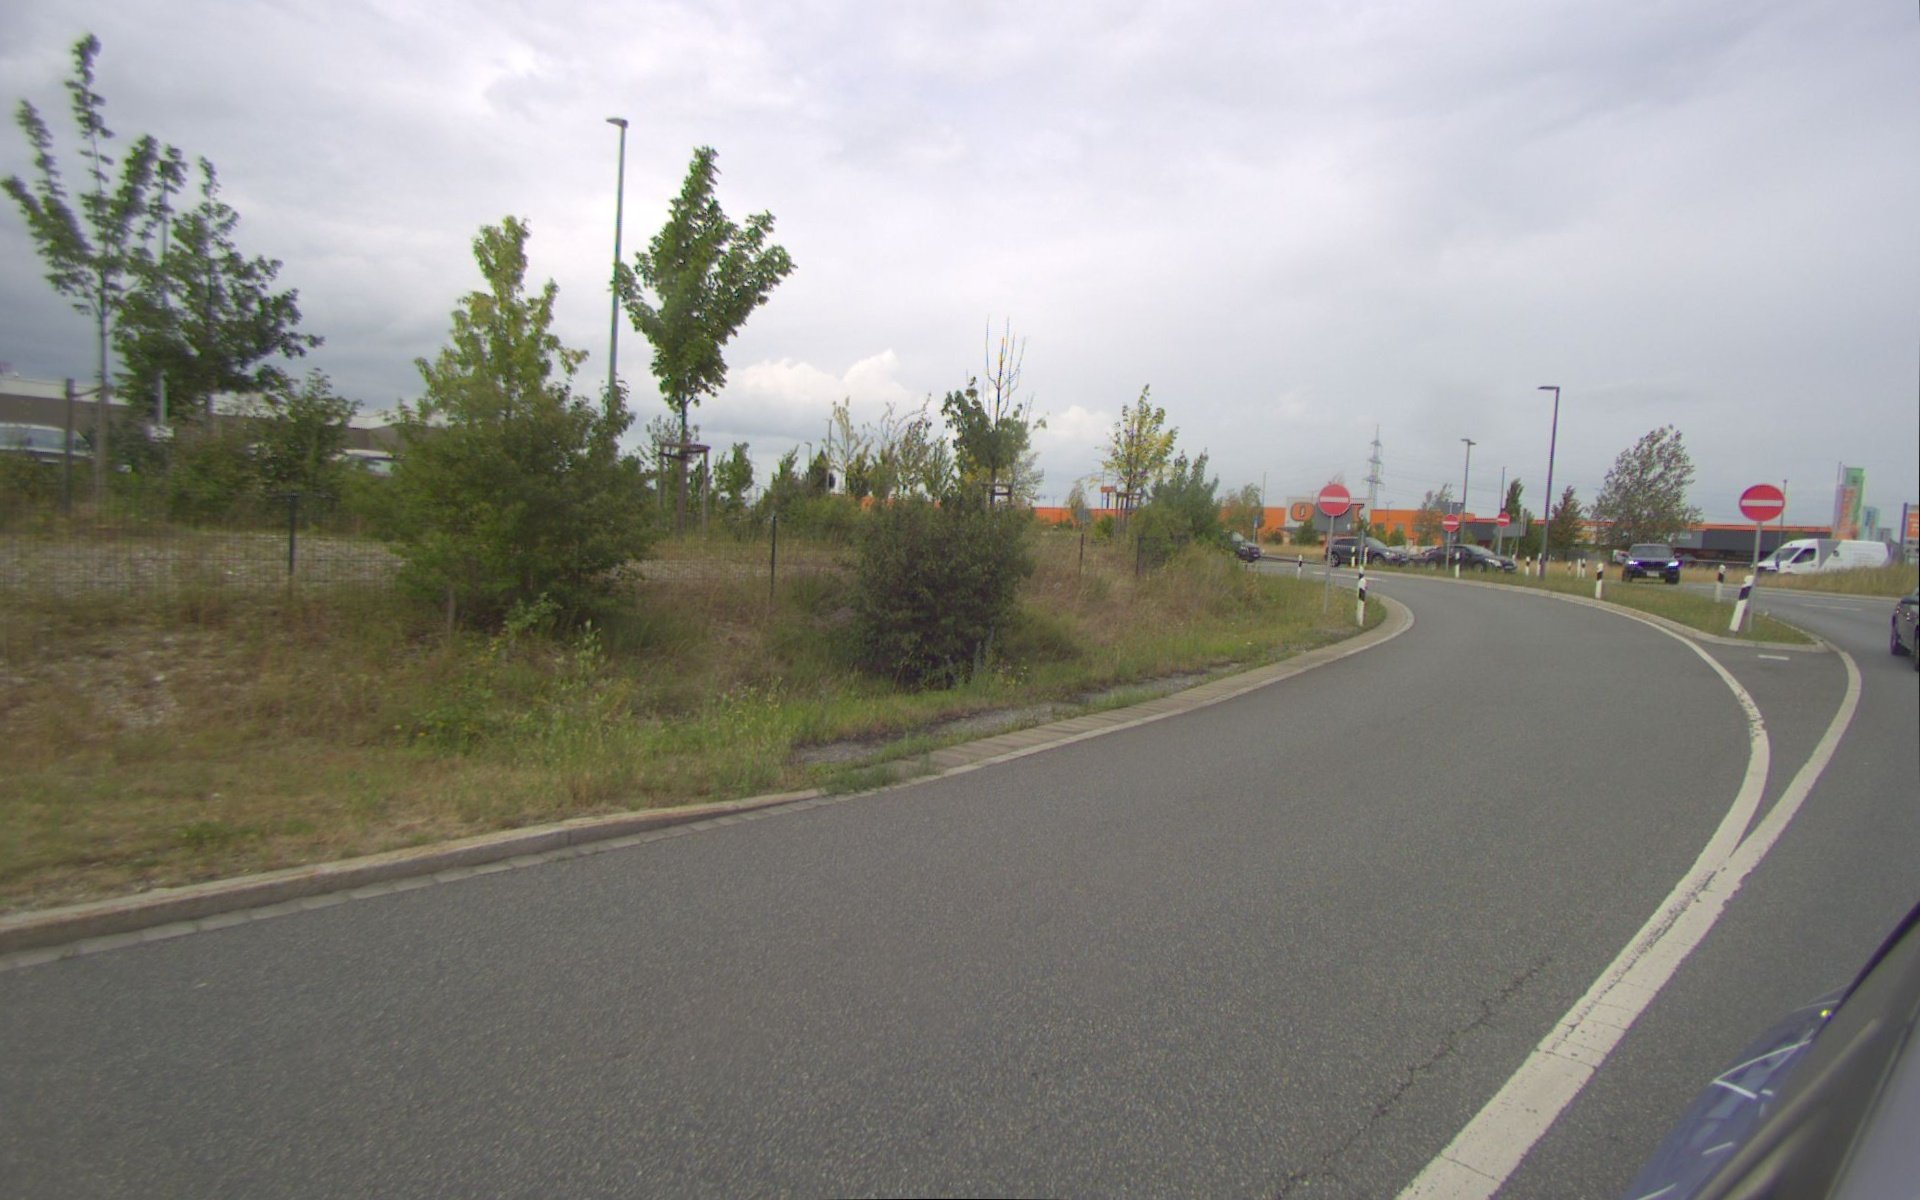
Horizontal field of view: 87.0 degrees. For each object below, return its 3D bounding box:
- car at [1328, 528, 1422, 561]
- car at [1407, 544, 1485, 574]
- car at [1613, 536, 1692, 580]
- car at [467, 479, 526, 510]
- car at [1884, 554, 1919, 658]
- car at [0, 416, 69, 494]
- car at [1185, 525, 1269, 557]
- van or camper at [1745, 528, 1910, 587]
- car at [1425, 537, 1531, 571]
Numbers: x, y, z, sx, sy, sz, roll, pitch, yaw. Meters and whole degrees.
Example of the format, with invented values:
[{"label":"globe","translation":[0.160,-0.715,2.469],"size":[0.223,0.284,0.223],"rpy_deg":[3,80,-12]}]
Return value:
[{"label":"car","translation":[21.978,-2.962,53.747],"size":[1.848,1.601,4.280],"rpy_deg":[-1,5,-34]},{"label":"car","translation":[29.665,-2.511,61.835],"size":[3.977,1.678,1.975],"rpy_deg":[4,3,36]},{"label":"car","translation":[29.351,-1.738,43.015],"size":[1.821,1.741,3.973],"rpy_deg":[2,1,21]},{"label":"car","translation":[-23.836,-5.385,51.980],"size":[1.642,1.448,3.994],"rpy_deg":[-1,5,-43]},{"label":"car","translation":[16.005,0.139,15.626],"size":[1.895,1.514,4.288],"rpy_deg":[3,6,34]},{"label":"car","translation":[-23.430,-3.583,25.026],"size":[1.746,1.740,4.064],"rpy_deg":[0,5,-37]},{"label":"car","translation":[16.021,-3.559,60.886],"size":[1.692,1.741,4.741],"rpy_deg":[-2,5,-41]},{"label":"van or camper","translation":[43.738,-2.168,51.155],"size":[5.938,2.682,2.332],"rpy_deg":[2,3,5]},{"label":"car","translation":[23.843,-2.134,46.768],"size":[1.805,1.386,4.156],"rpy_deg":[0,4,-22]}]
